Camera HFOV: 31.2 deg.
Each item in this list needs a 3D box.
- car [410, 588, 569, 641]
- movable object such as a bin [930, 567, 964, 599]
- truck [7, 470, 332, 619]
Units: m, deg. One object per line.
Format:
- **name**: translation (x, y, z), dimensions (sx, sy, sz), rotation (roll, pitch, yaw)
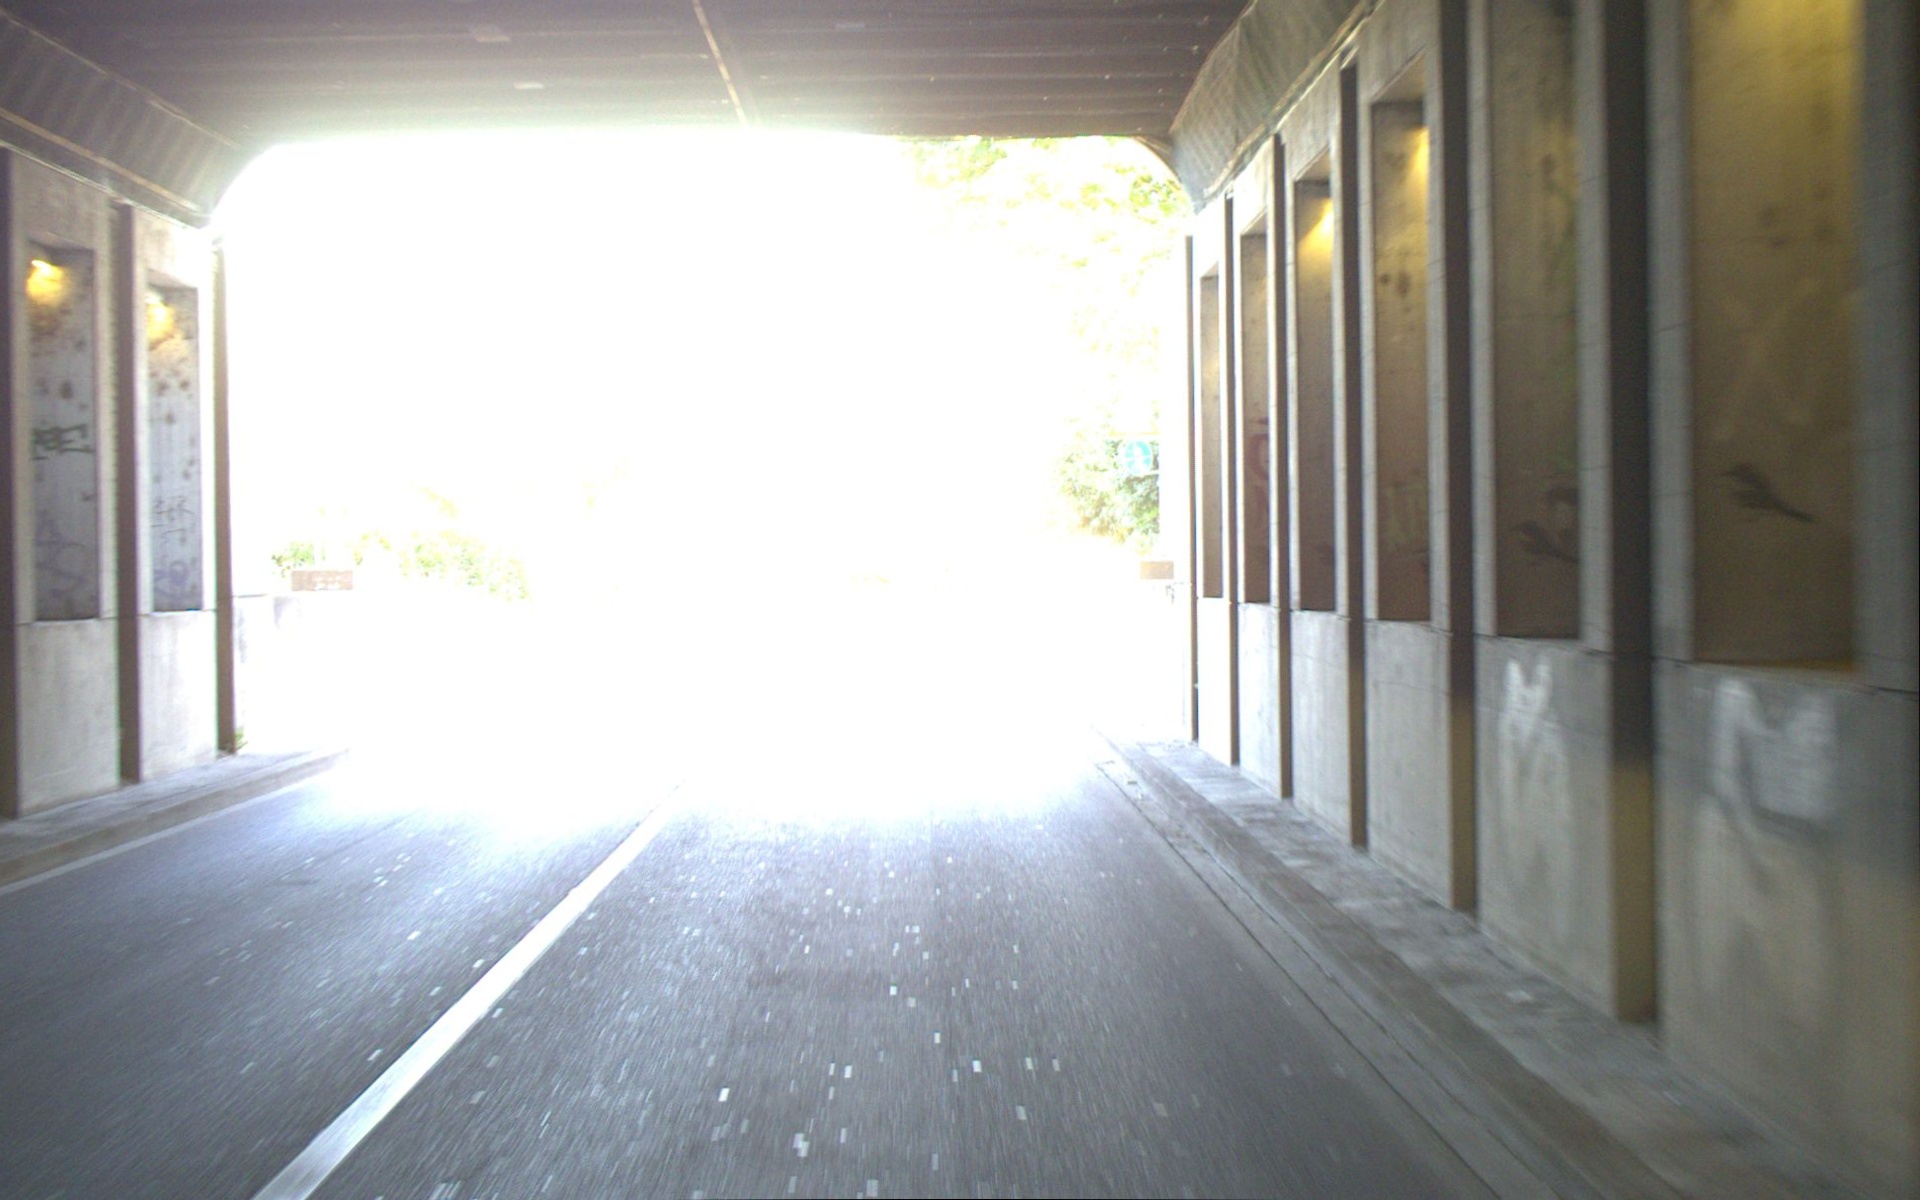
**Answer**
- **car**: translation (-13.595, 0.413, 99.301), dimensions (4.216, 1.485, 1.874), rotation (1, 0, 26)
- **movable object such as a bin**: translation (-0.562, -0.753, 151.444), dimensions (1.364, 1.413, 1.066), rotation (1, 0, -8)
- **truck**: translation (-22.006, -1.459, 95.485), dimensions (9.318, 3.870, 2.707), rotation (-1, -1, 29)
